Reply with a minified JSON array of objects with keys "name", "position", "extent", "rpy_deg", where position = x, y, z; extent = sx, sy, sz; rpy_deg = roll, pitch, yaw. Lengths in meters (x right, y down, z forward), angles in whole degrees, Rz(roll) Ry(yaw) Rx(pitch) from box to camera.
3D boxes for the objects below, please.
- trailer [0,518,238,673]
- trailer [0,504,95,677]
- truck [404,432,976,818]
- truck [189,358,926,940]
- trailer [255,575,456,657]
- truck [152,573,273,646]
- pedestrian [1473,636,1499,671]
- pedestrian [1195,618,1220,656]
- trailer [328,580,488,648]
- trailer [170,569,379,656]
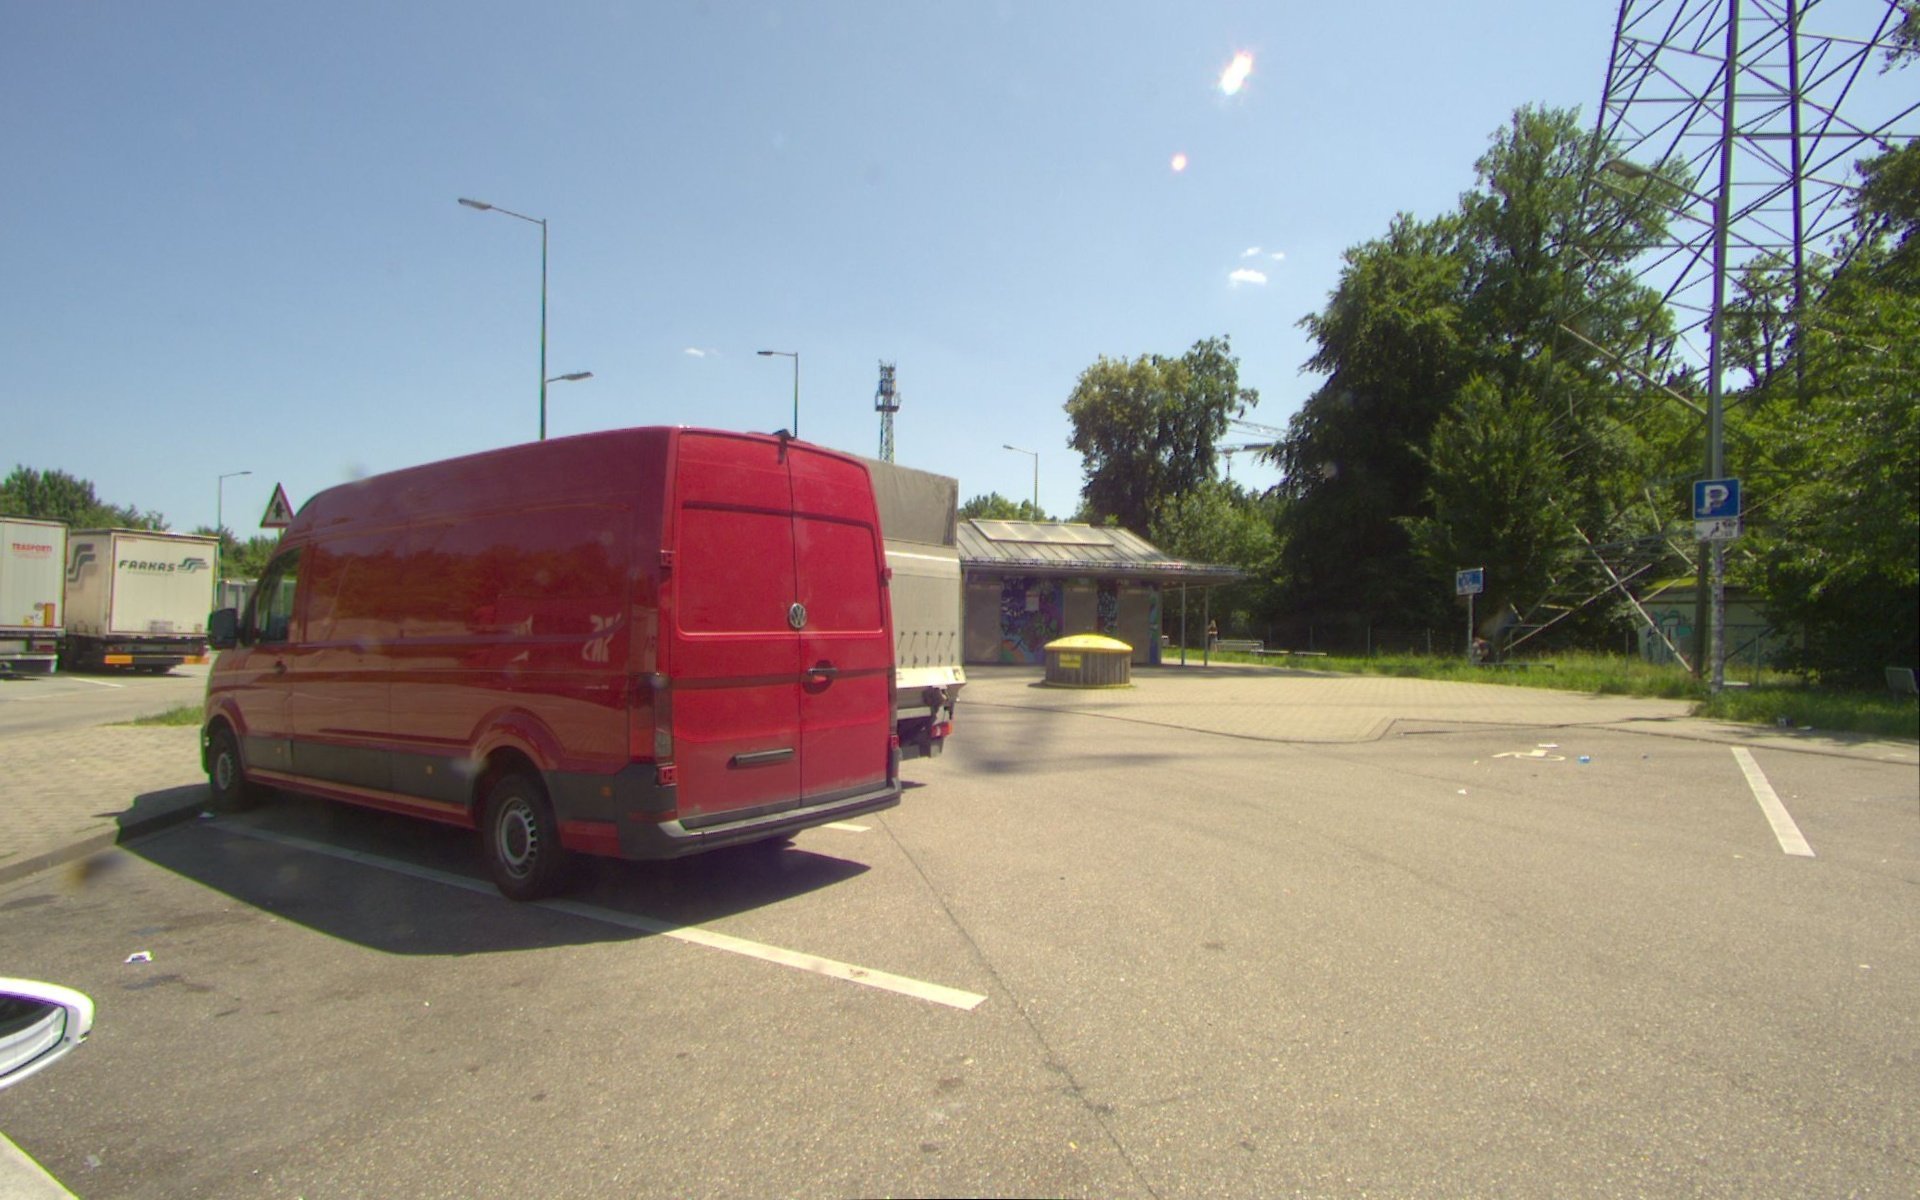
[{"name":"trailer","position":[-27.634,-0.171,31.610],"extent":[13.561,4.162,2.854],"rpy_deg":[1,-2,32]},{"name":"trailer","position":[-28.706,-0.343,28.023],"extent":[13.561,4.162,2.854],"rpy_deg":[1,-2,32]},{"name":"truck","position":[-3.101,0.270,10.529],"extent":[6.371,2.944,2.411],"rpy_deg":[-1,-2,37]},{"name":"truck","position":[-3.350,0.299,7.345],"extent":[6.372,2.685,2.005],"rpy_deg":[-1,-2,37]},{"name":"trailer","position":[-30.899,0.704,50.780],"extent":[13.561,3.646,2.854],"rpy_deg":[1,-2,32]},{"name":"truck","position":[-37.573,0.471,50.321],"extent":[5.887,3.406,2.862],"rpy_deg":[1,-2,32]},{"name":"pedestrian","position":[14.625,1.482,27.830],"extent":[0.439,0.987,0.460],"rpy_deg":[0,-1,-19]},{"name":"pedestrian","position":[10.873,1.638,44.043],"extent":[0.903,1.639,0.814],"rpy_deg":[0,-1,0]},{"name":"trailer","position":[-36.198,0.838,65.337],"extent":[13.561,3.955,2.854],"rpy_deg":[1,-2,32]},{"name":"trailer","position":[-32.500,0.480,47.099],"extent":[13.561,3.646,2.854],"rpy_deg":[1,-2,32]}]
